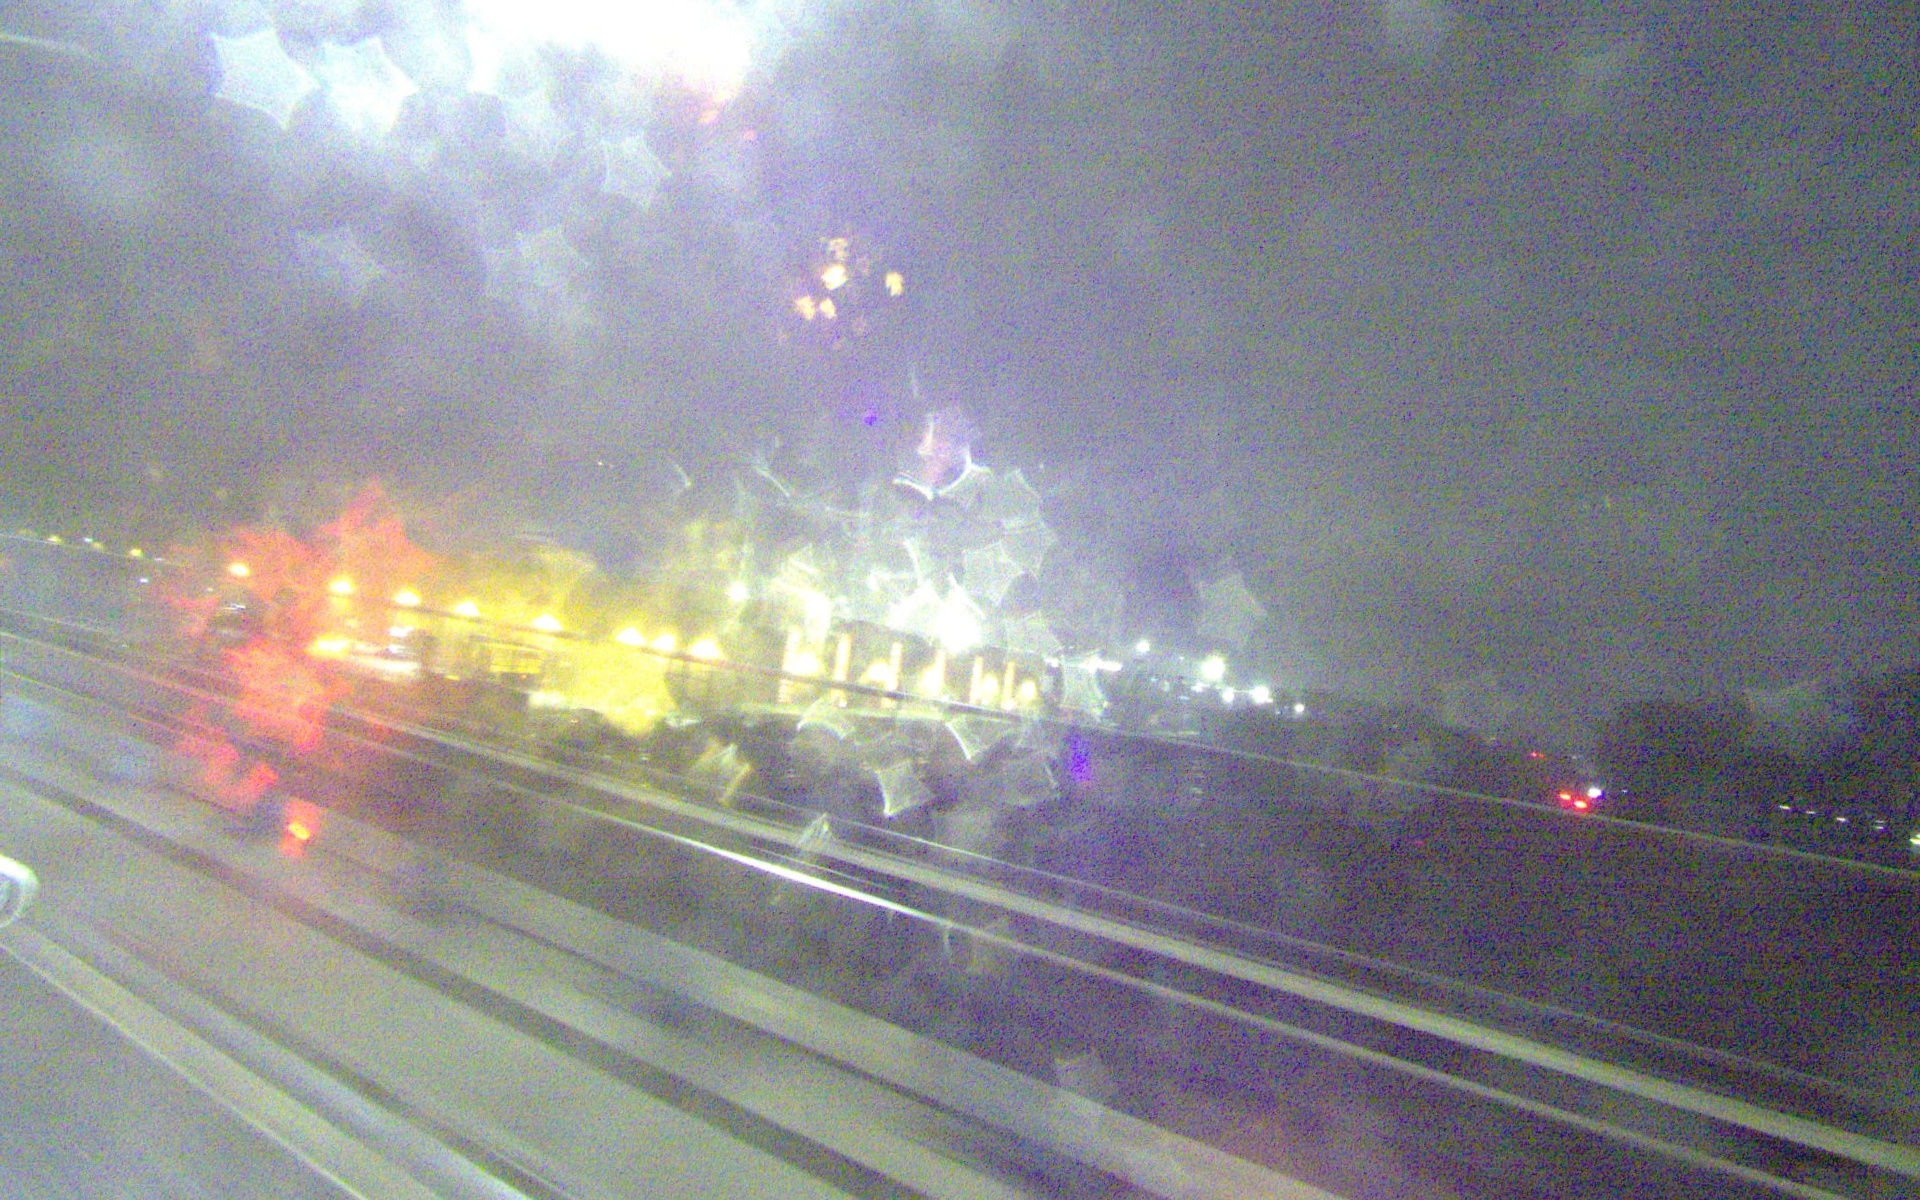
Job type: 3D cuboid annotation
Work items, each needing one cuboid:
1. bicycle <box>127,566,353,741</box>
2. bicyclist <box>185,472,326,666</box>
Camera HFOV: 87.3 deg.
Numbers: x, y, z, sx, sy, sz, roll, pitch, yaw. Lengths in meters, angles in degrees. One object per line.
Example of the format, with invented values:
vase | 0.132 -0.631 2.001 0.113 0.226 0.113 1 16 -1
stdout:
bicycle | -5.549 0.373 7.702 2.135 1.046 0.485 6 -1 30
bicyclist | -5.350 -0.233 7.644 0.751 1.365 0.453 7 -1 29
